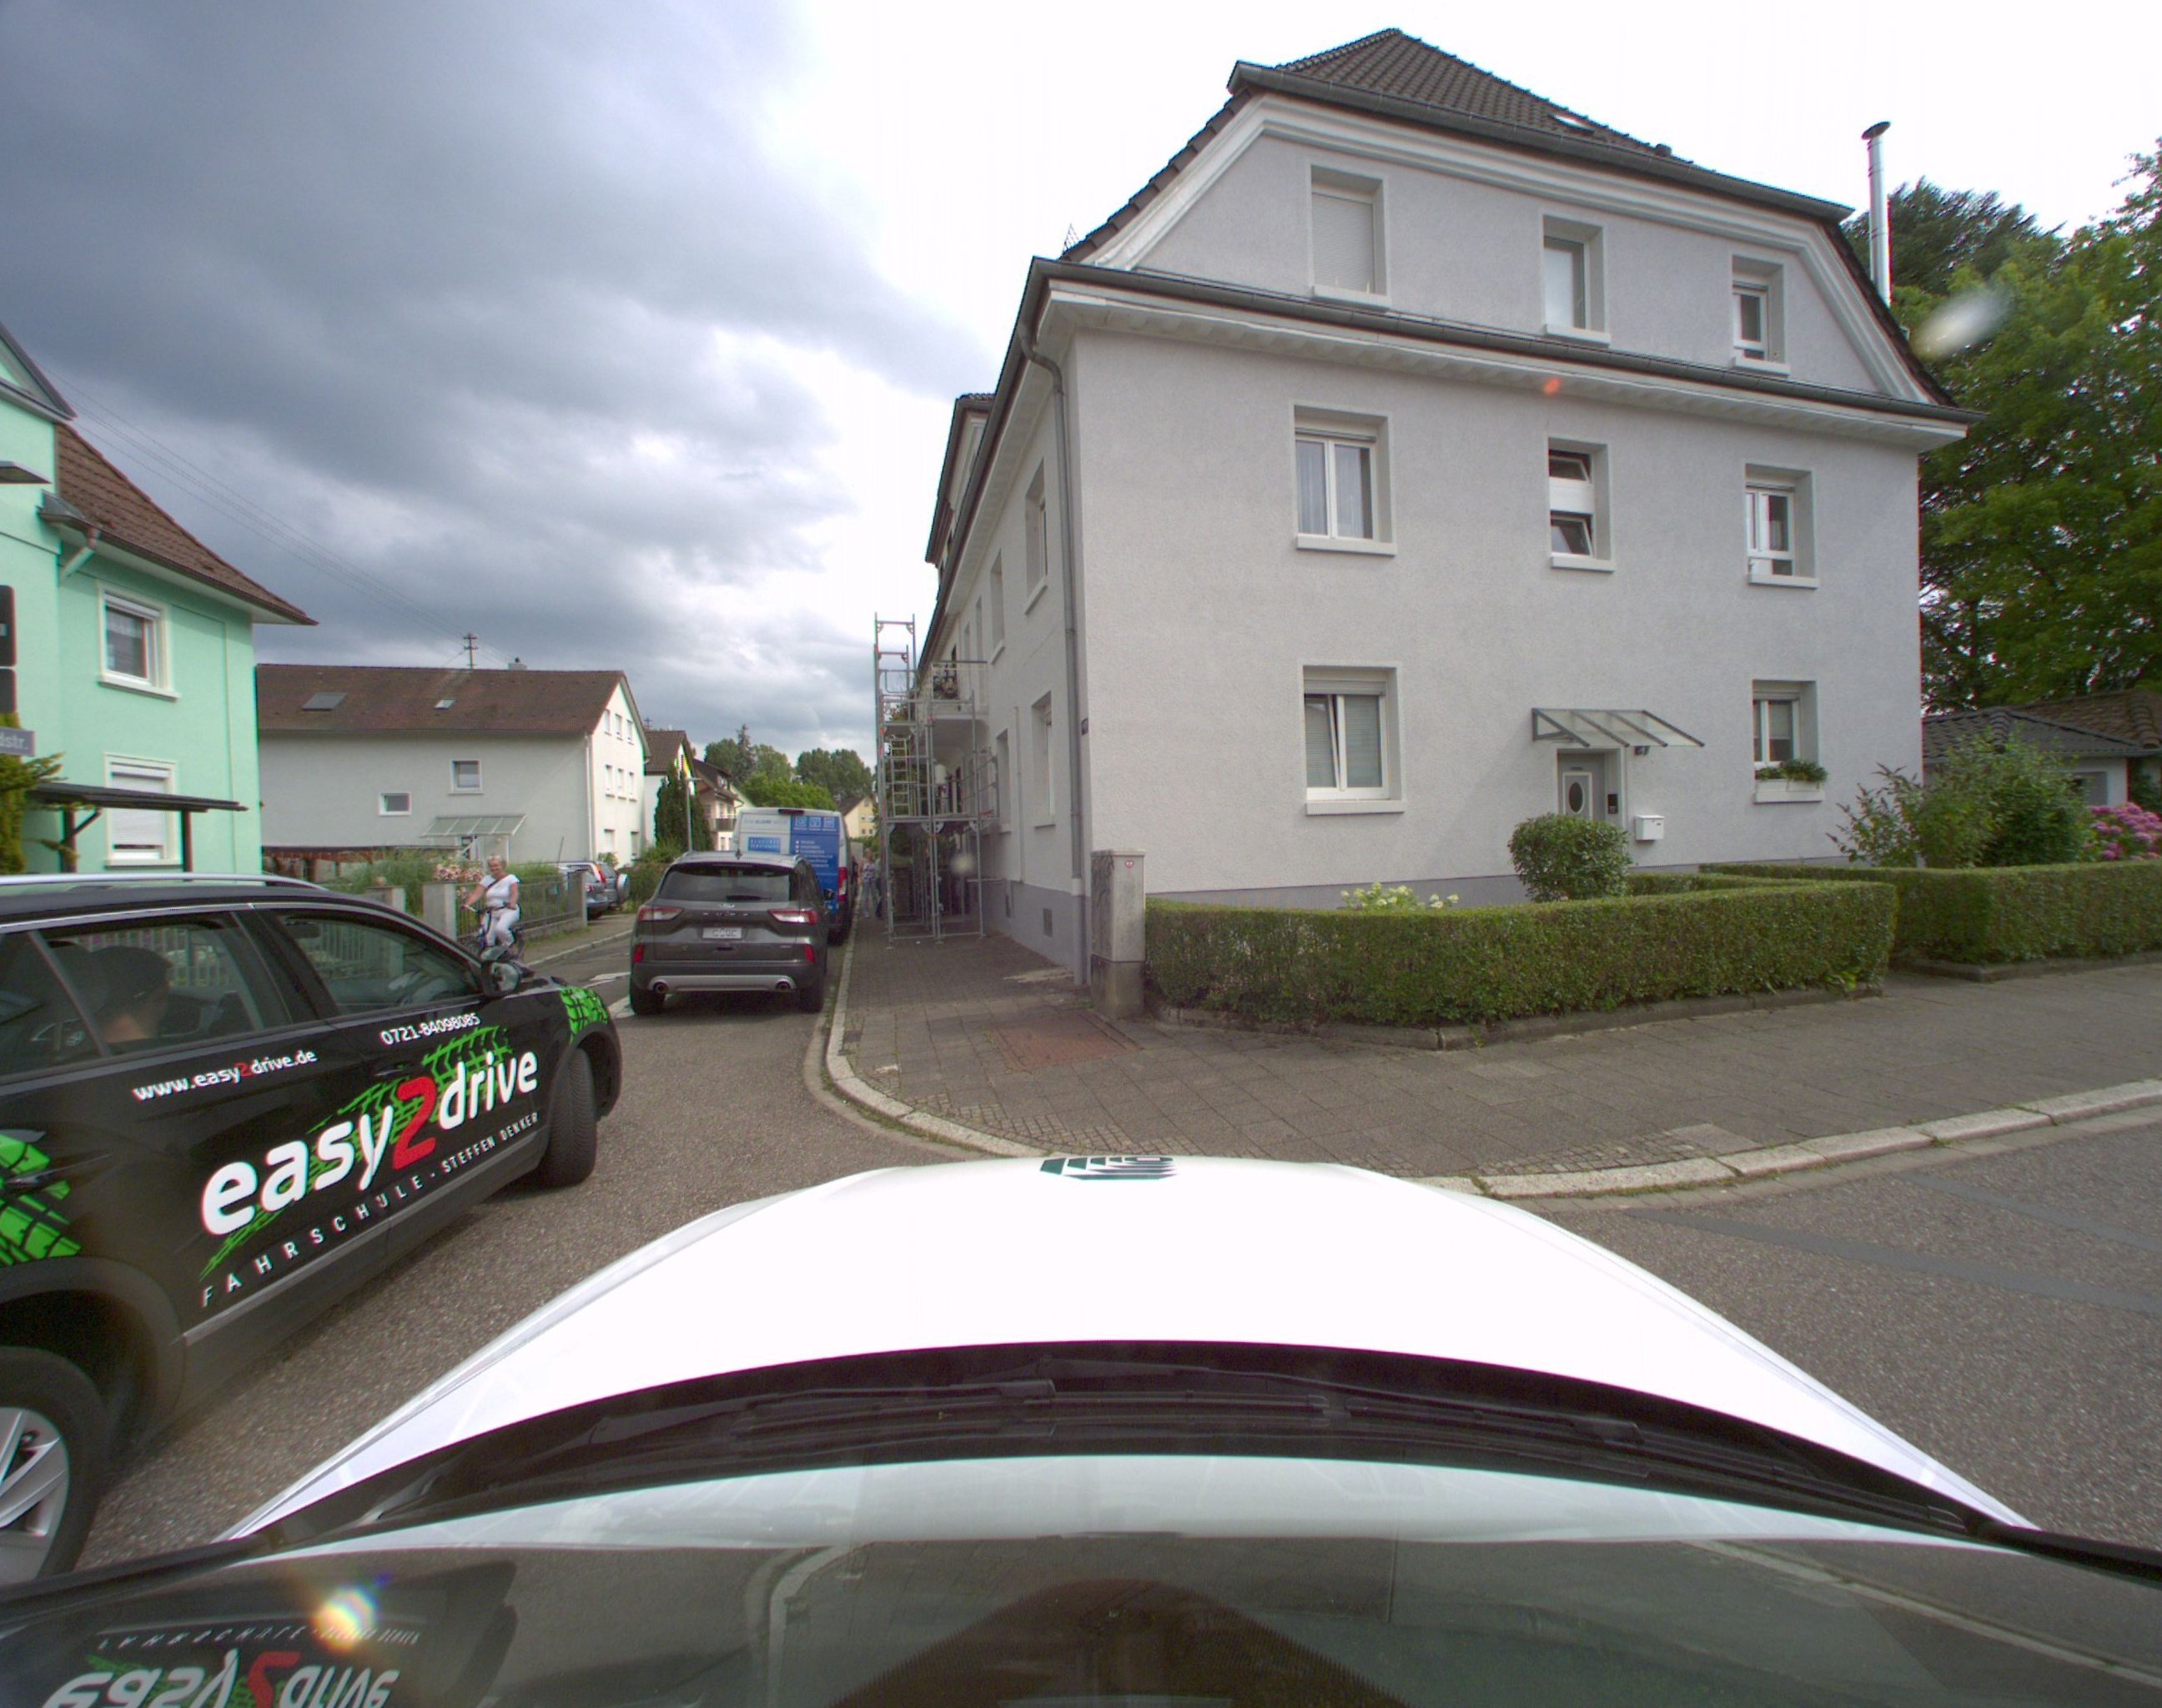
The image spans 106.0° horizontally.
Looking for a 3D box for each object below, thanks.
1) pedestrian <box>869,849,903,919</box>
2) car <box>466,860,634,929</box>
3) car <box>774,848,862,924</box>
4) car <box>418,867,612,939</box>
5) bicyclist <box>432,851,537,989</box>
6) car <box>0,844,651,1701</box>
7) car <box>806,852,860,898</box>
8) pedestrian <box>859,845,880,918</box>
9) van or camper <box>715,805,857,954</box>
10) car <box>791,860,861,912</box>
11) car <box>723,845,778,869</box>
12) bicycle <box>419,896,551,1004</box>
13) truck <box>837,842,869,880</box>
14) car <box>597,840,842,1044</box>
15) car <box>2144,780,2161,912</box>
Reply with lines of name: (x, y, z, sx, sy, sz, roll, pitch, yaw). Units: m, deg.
pedestrian: (-4.708, 0.714, 19.681, 0.599, 1.629, 0.625, -3, -1, -3)
car: (-14.699, 1.071, 22.770, 3.582, 1.667, 1.577, -3, 0, -19)
car: (-7.121, 0.774, 22.184, 1.999, 1.772, 4.316, -2, 1, -17)
car: (-13.847, 1.158, 20.163, 3.582, 1.500, 1.577, -3, 0, -19)
bicyclist: (-7.740, 0.820, 10.615, 0.697, 1.666, 0.970, -4, 0, -15)
car: (-3.045, 0.784, 2.545, 1.816, 1.520, 4.029, -2, -1, -10)
car: (-10.608, 0.835, 34.843, 1.999, 1.749, 4.316, -2, 1, -17)
pedestrian: (-5.268, 0.677, 20.267, 0.409, 1.762, 0.510, -2, -1, -18)
van or camper: (-5.725, 0.407, 16.475, 2.196, 2.459, 5.028, -2, 1, -15)
car: (-8.447, 0.985, 27.039, 1.999, 1.455, 4.316, -2, 1, -17)
car: (-27.262, 0.222, 67.301, 3.998, 1.772, 1.858, -2, -1, -19)
bicycle: (-7.736, 1.195, 10.681, 0.706, 1.152, 1.863, -3, 1, -15)
truck: (-17.226, 0.497, 61.436, 2.135, 2.657, 4.558, -2, 1, -17)
car: (-3.907, 0.769, 9.546, 1.999, 1.726, 4.316, -2, 1, -17)
car: (17.104, -0.187, 10.942, 3.992, 1.837, 1.991, -2, 1, -14)
